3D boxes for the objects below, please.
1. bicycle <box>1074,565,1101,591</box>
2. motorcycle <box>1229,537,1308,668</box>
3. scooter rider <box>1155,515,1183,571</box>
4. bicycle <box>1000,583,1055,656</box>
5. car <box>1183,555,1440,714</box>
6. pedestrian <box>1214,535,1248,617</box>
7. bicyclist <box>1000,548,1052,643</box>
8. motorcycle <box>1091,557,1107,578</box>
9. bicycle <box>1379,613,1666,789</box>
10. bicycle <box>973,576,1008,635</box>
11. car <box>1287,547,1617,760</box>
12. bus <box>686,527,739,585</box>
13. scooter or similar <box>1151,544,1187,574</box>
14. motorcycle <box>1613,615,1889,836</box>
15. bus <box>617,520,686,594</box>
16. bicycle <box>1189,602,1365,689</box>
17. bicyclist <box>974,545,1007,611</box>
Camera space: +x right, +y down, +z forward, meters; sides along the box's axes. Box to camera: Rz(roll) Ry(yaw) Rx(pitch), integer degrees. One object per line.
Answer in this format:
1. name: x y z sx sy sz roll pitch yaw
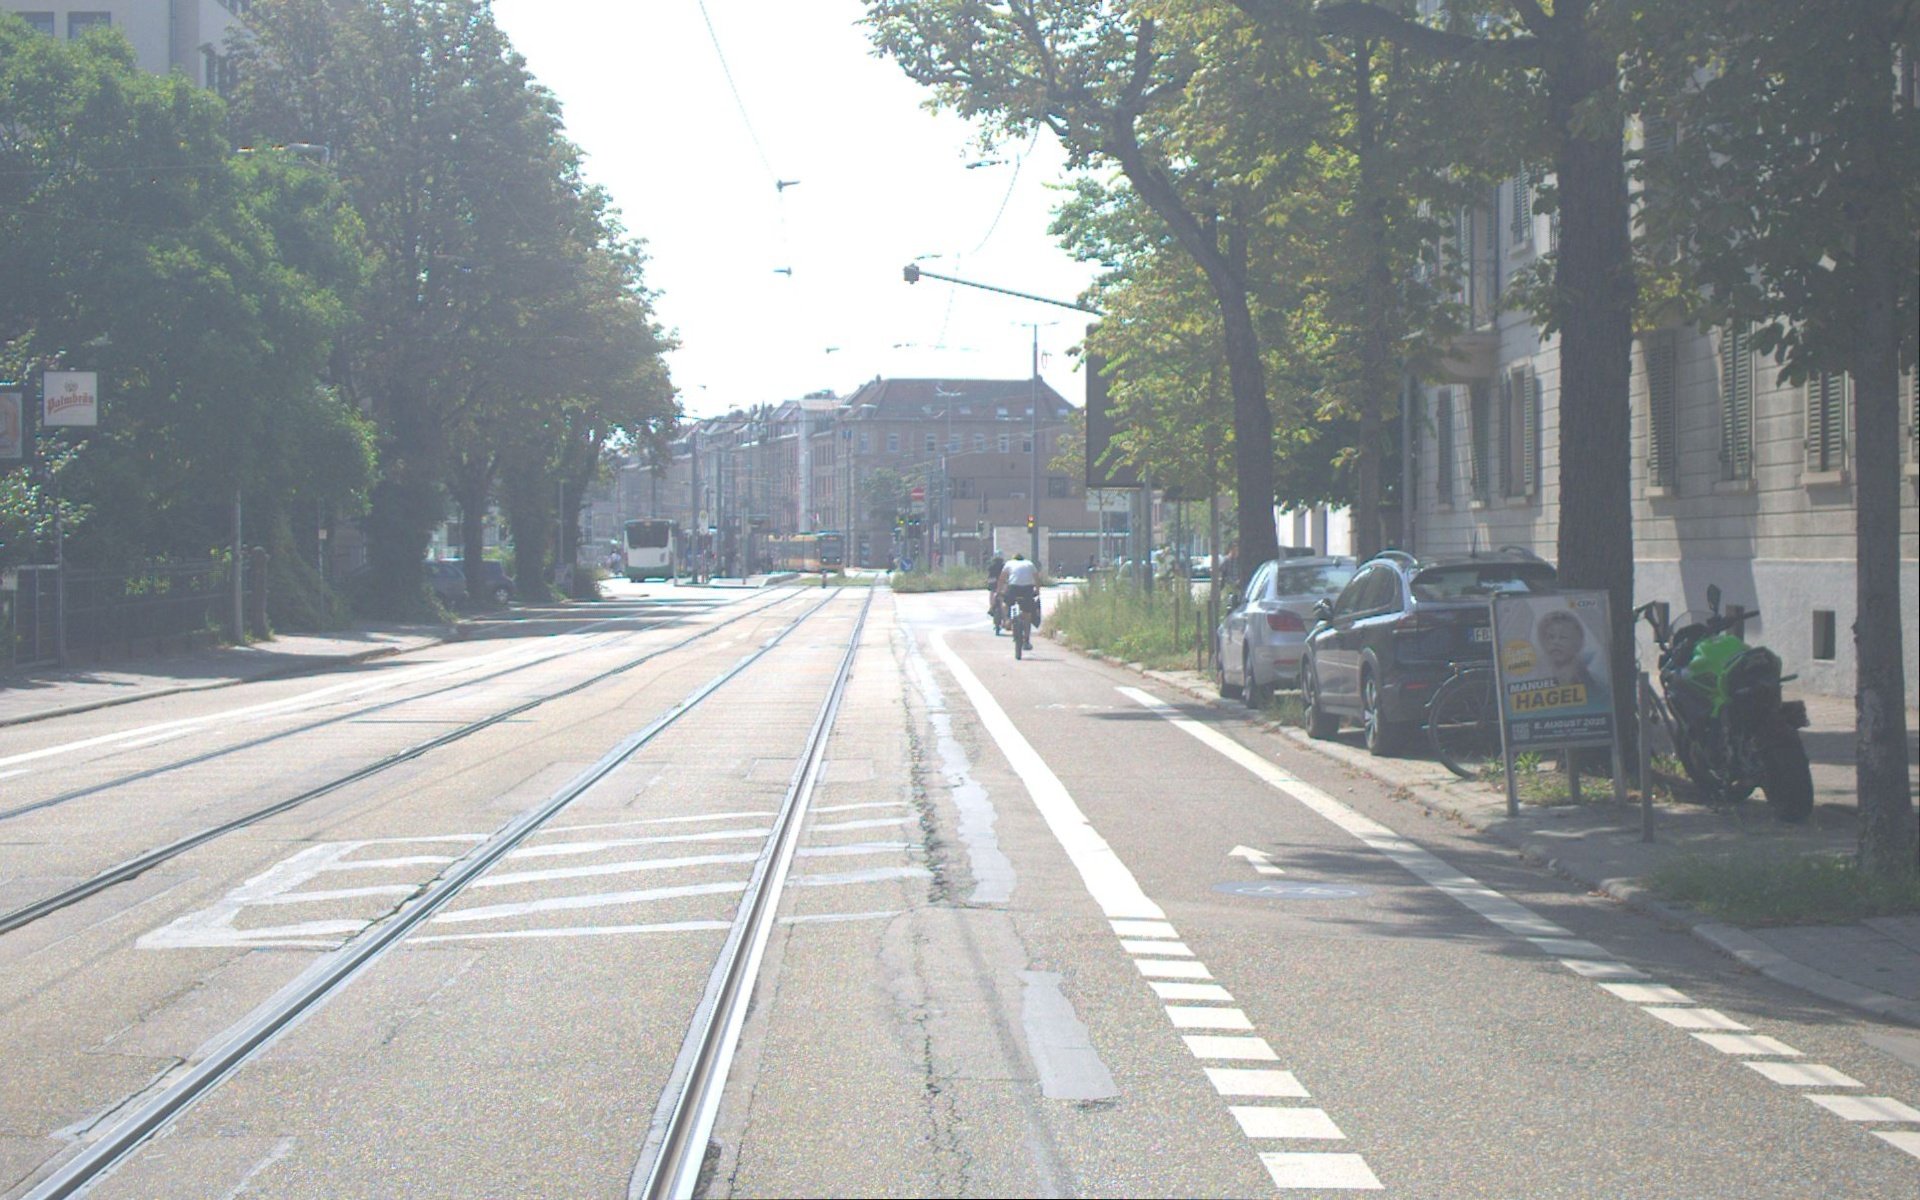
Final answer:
1. bicycle: 5.652 -0.972 152.337 0.445 1.113 1.443 0 1 35
2. motorcycle: 3.794 0.019 42.136 0.886 1.547 2.411 -1 0 7
3. scooter rider: 6.582 -1.798 108.345 0.762 1.769 0.555 0 1 15
4. bicycle: 1.009 0.288 51.931 0.739 1.045 2.233 0 1 -1
5. car: 3.425 0.290 34.325 1.782 1.445 4.752 -1 1 -4
6. pedestrian: 5.745 -0.509 72.959 0.692 1.726 0.579 0 1 1
7. bicyclist: 1.001 -0.075 52.109 0.745 1.407 0.962 0 1 -1
8. motorcycle: 7.802 -1.835 193.332 0.604 1.206 2.252 0 1 10
9. bicycle: 3.663 0.650 22.474 1.755 1.119 0.656 0 1 -1
10. bicycle: 0.617 0.100 69.308 0.604 1.159 1.811 0 1 -3
11. car: 3.732 0.347 26.798 1.663 1.502 4.435 -1 1 -4
12. bus: -16.359 -2.906 227.891 2.709 3.714 10.419 1 1 0
13. scooter or similar: 6.591 -1.285 108.385 0.773 0.923 1.619 1 1 16
14. motorcycle: 4.383 0.664 19.267 0.826 1.107 2.498 0 1 -4
15. bus: -16.330 -2.283 182.512 2.957 3.762 10.597 1 1 -2
16. bicycle: 3.544 0.503 38.534 1.923 0.949 0.721 0 1 2
17. bicyclist: 0.614 -0.445 69.325 0.602 1.331 0.660 0 1 -3
